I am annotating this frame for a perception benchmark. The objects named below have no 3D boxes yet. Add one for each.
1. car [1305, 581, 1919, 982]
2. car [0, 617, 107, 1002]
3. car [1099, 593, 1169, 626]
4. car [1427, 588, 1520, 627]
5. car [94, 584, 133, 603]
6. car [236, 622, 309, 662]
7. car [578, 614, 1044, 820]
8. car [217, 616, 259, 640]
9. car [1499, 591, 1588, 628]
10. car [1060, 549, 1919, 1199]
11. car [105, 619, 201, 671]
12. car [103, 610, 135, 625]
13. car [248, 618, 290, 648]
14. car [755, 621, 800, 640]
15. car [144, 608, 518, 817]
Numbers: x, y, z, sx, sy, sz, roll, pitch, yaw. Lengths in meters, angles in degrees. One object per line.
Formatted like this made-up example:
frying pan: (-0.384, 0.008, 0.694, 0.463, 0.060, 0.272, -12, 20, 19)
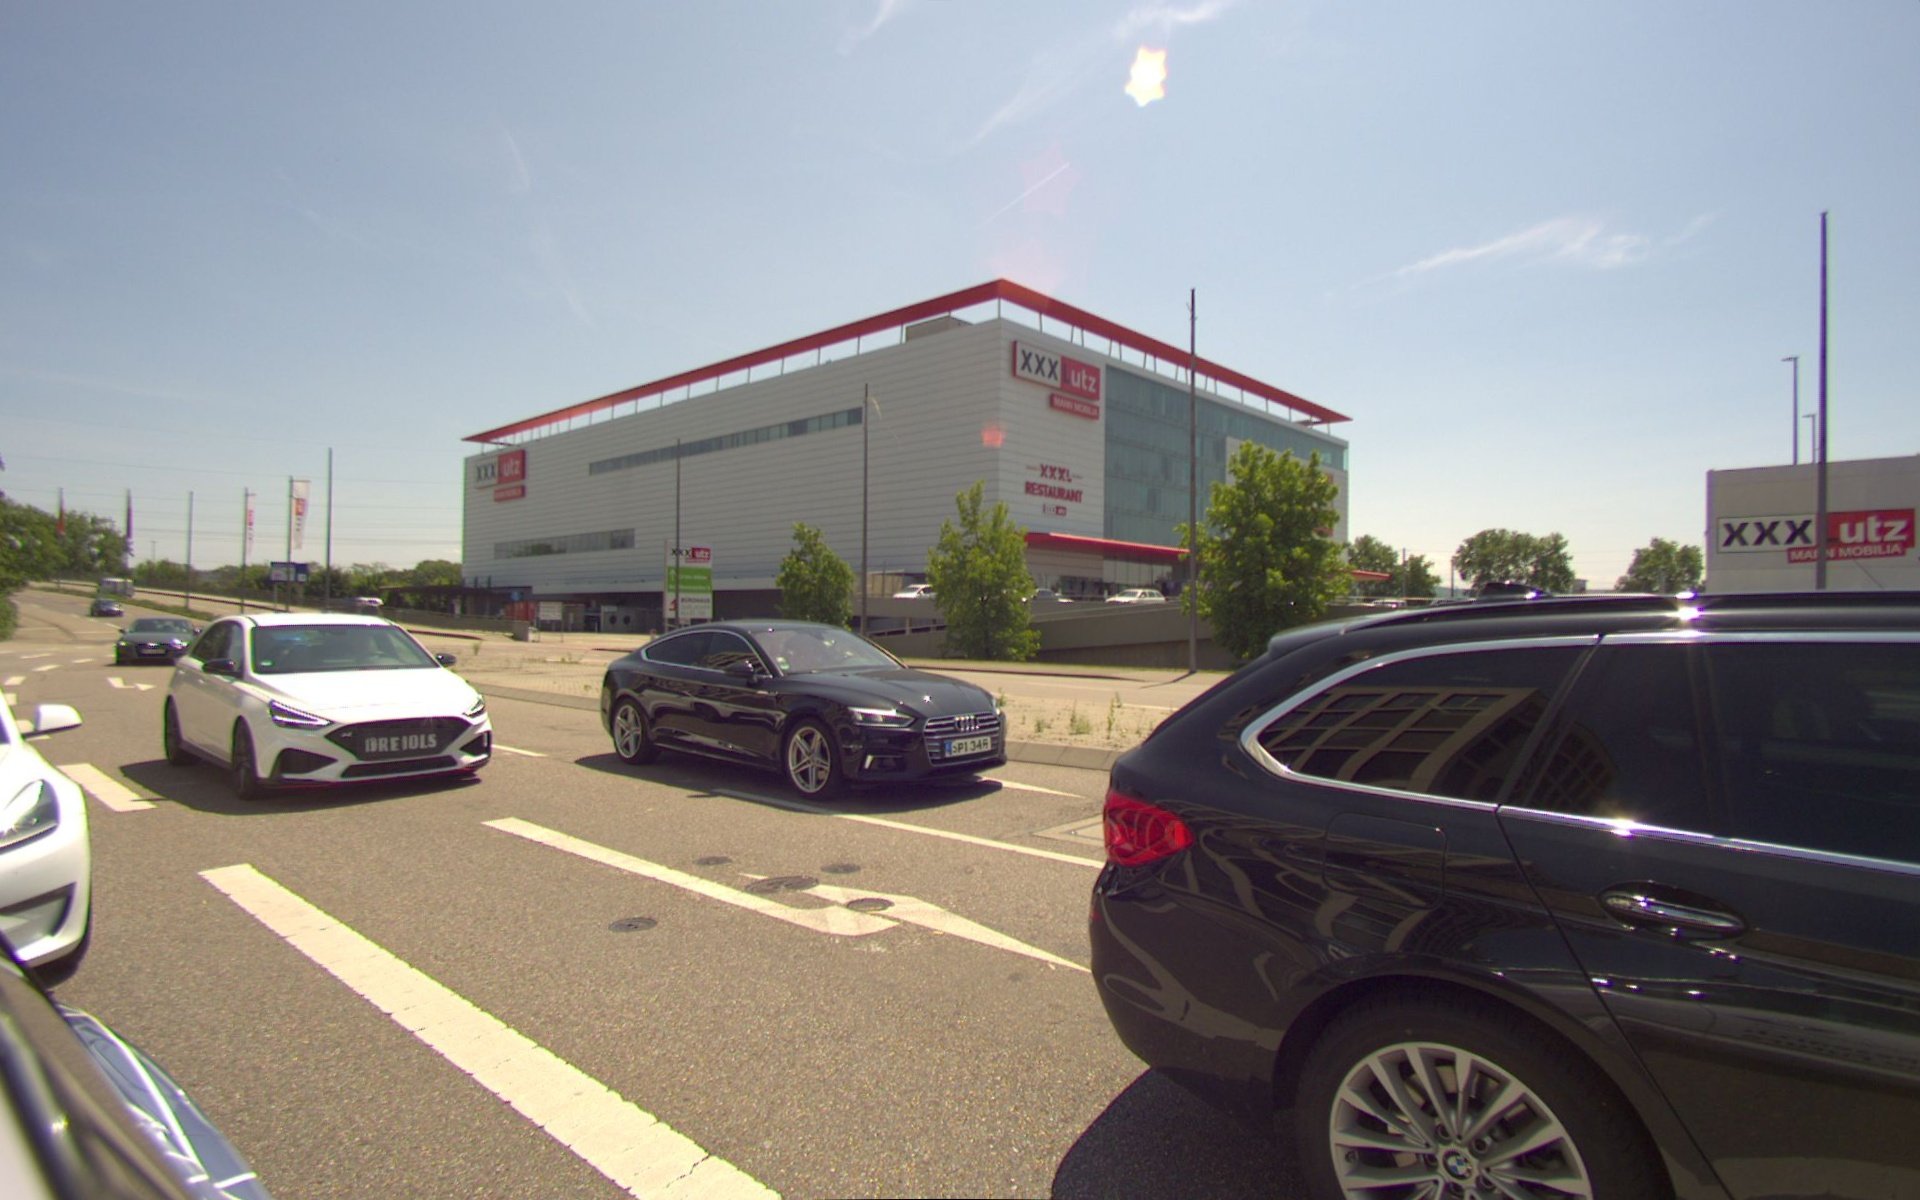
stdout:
car: (3.885, 0.693, 4.706, 3.991, 1.505, 1.782, -1, -1, 36)
car: (-5.686, 0.822, 4.704, 4.401, 1.436, 1.857, -1, -1, 39)
car: (9.935, 0.579, 57.571, 2.001, 1.781, 4.140, 0, -2, 44)
car: (26.920, 0.426, 53.064, 3.998, 1.946, 1.973, -1, -2, 41)
car: (-92.769, -0.726, 110.868, 4.822, 1.864, 1.817, 2, 1, 31)
car: (-26.170, 1.559, 38.471, 1.775, 1.424, 4.412, 2, -2, -41)
car: (-1.558, 0.863, 9.135, 4.533, 1.401, 1.729, -2, -2, 43)
car: (-50.909, 1.964, 71.291, 1.811, 1.674, 4.003, 2, -2, -44)
car: (32.268, 0.553, 55.977, 3.996, 1.923, 1.974, -1, -2, 39)
car: (2.579, 0.653, 1.693, 4.620, 1.477, 1.781, -1, -1, 40)
car: (-23.655, 1.274, 29.605, 1.776, 1.388, 4.410, 3, -2, -43)
car: (-71.862, 1.481, 86.462, 3.348, 1.198, 1.457, 1, 2, 38)
car: (-37.344, 1.745, 54.652, 1.653, 1.587, 4.066, 1, -1, -37)
car: (-16.822, 2.810, 93.196, 1.911, 1.632, 3.698, 0, -2, 41)
car: (-5.820, 0.837, 9.148, 4.228, 1.461, 1.712, -1, -2, 41)
